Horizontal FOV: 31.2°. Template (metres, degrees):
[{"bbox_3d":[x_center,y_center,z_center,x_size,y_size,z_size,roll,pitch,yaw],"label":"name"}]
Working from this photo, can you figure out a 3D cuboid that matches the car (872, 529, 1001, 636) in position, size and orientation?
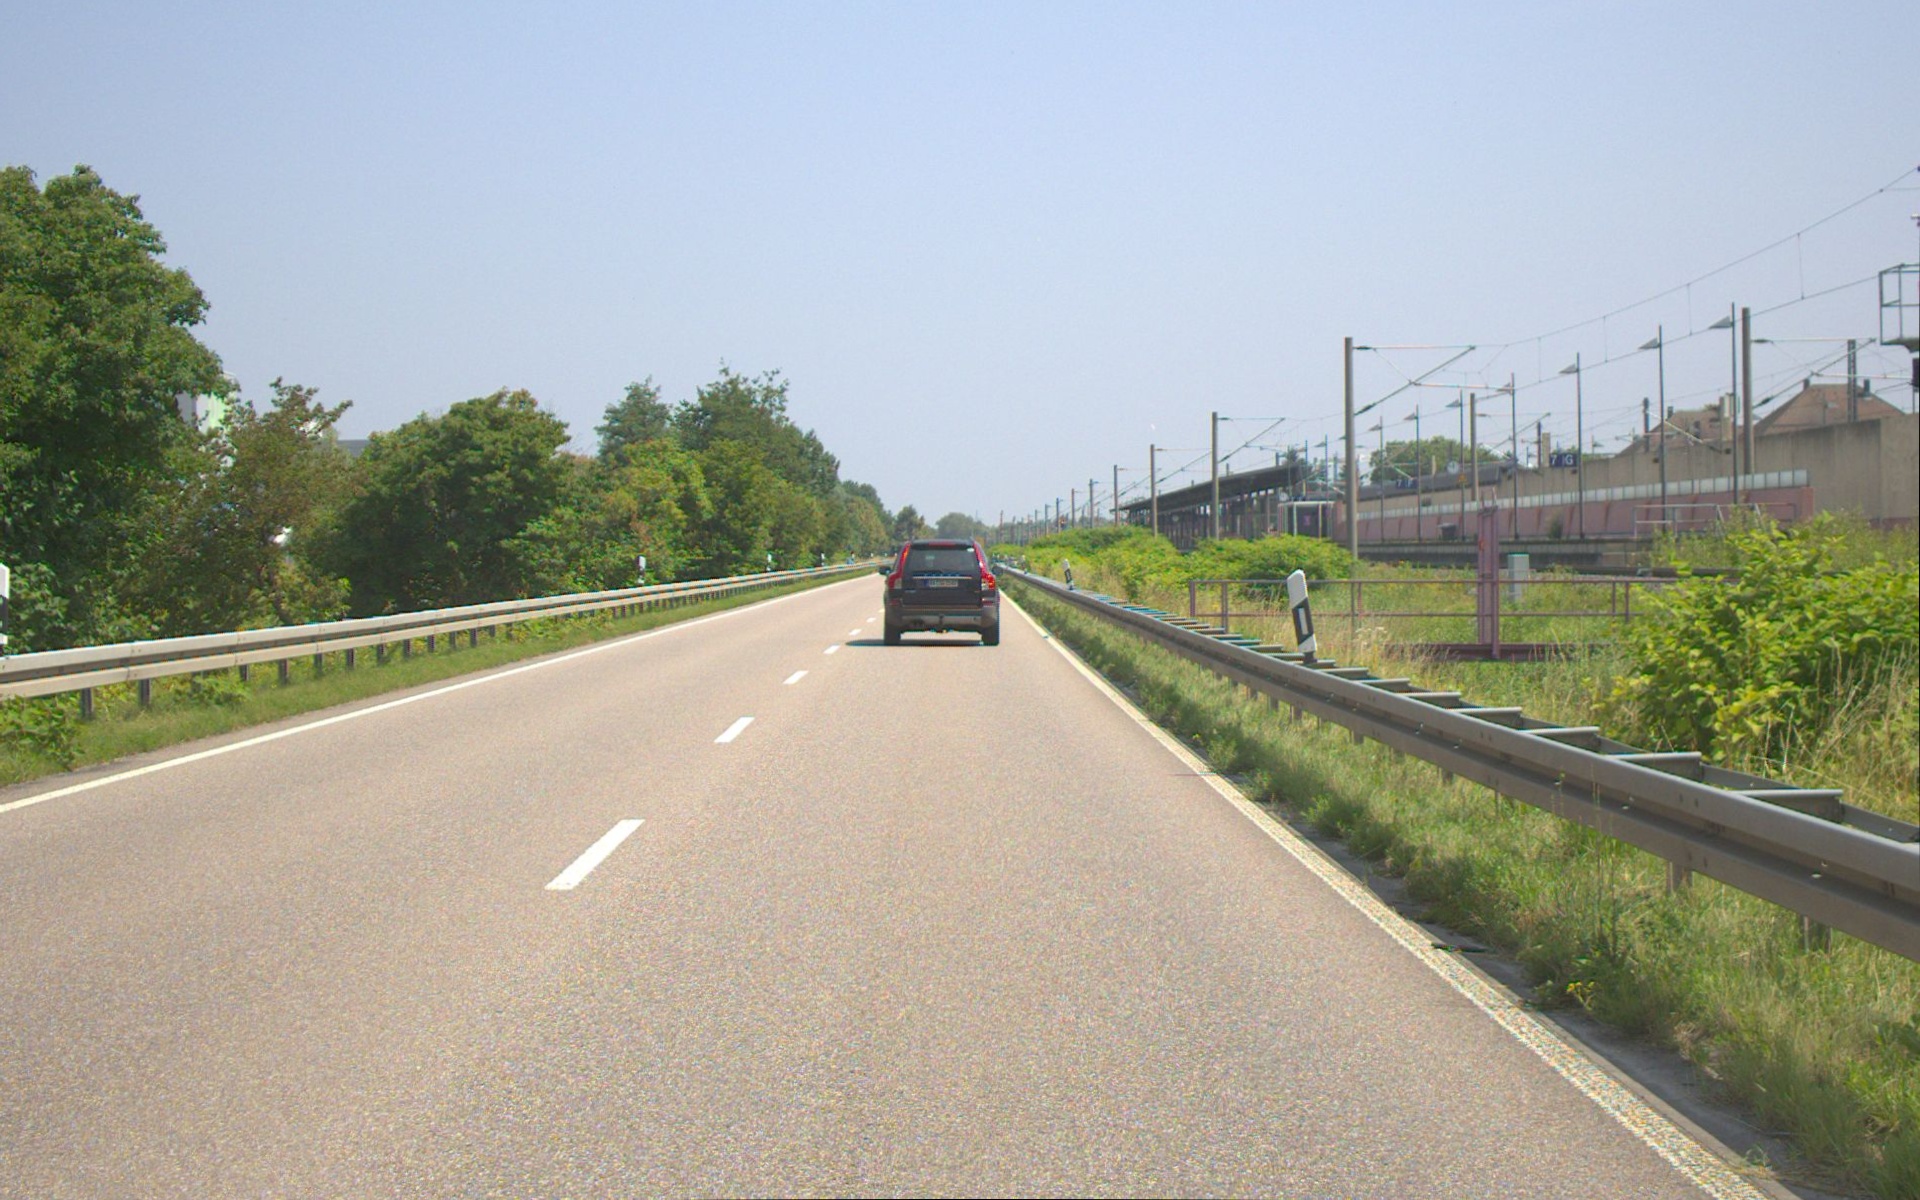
[{"bbox_3d":[-0.426,-0.314,56.596,1.993,1.694,4.000,0,1,-2],"label":"car"}]
